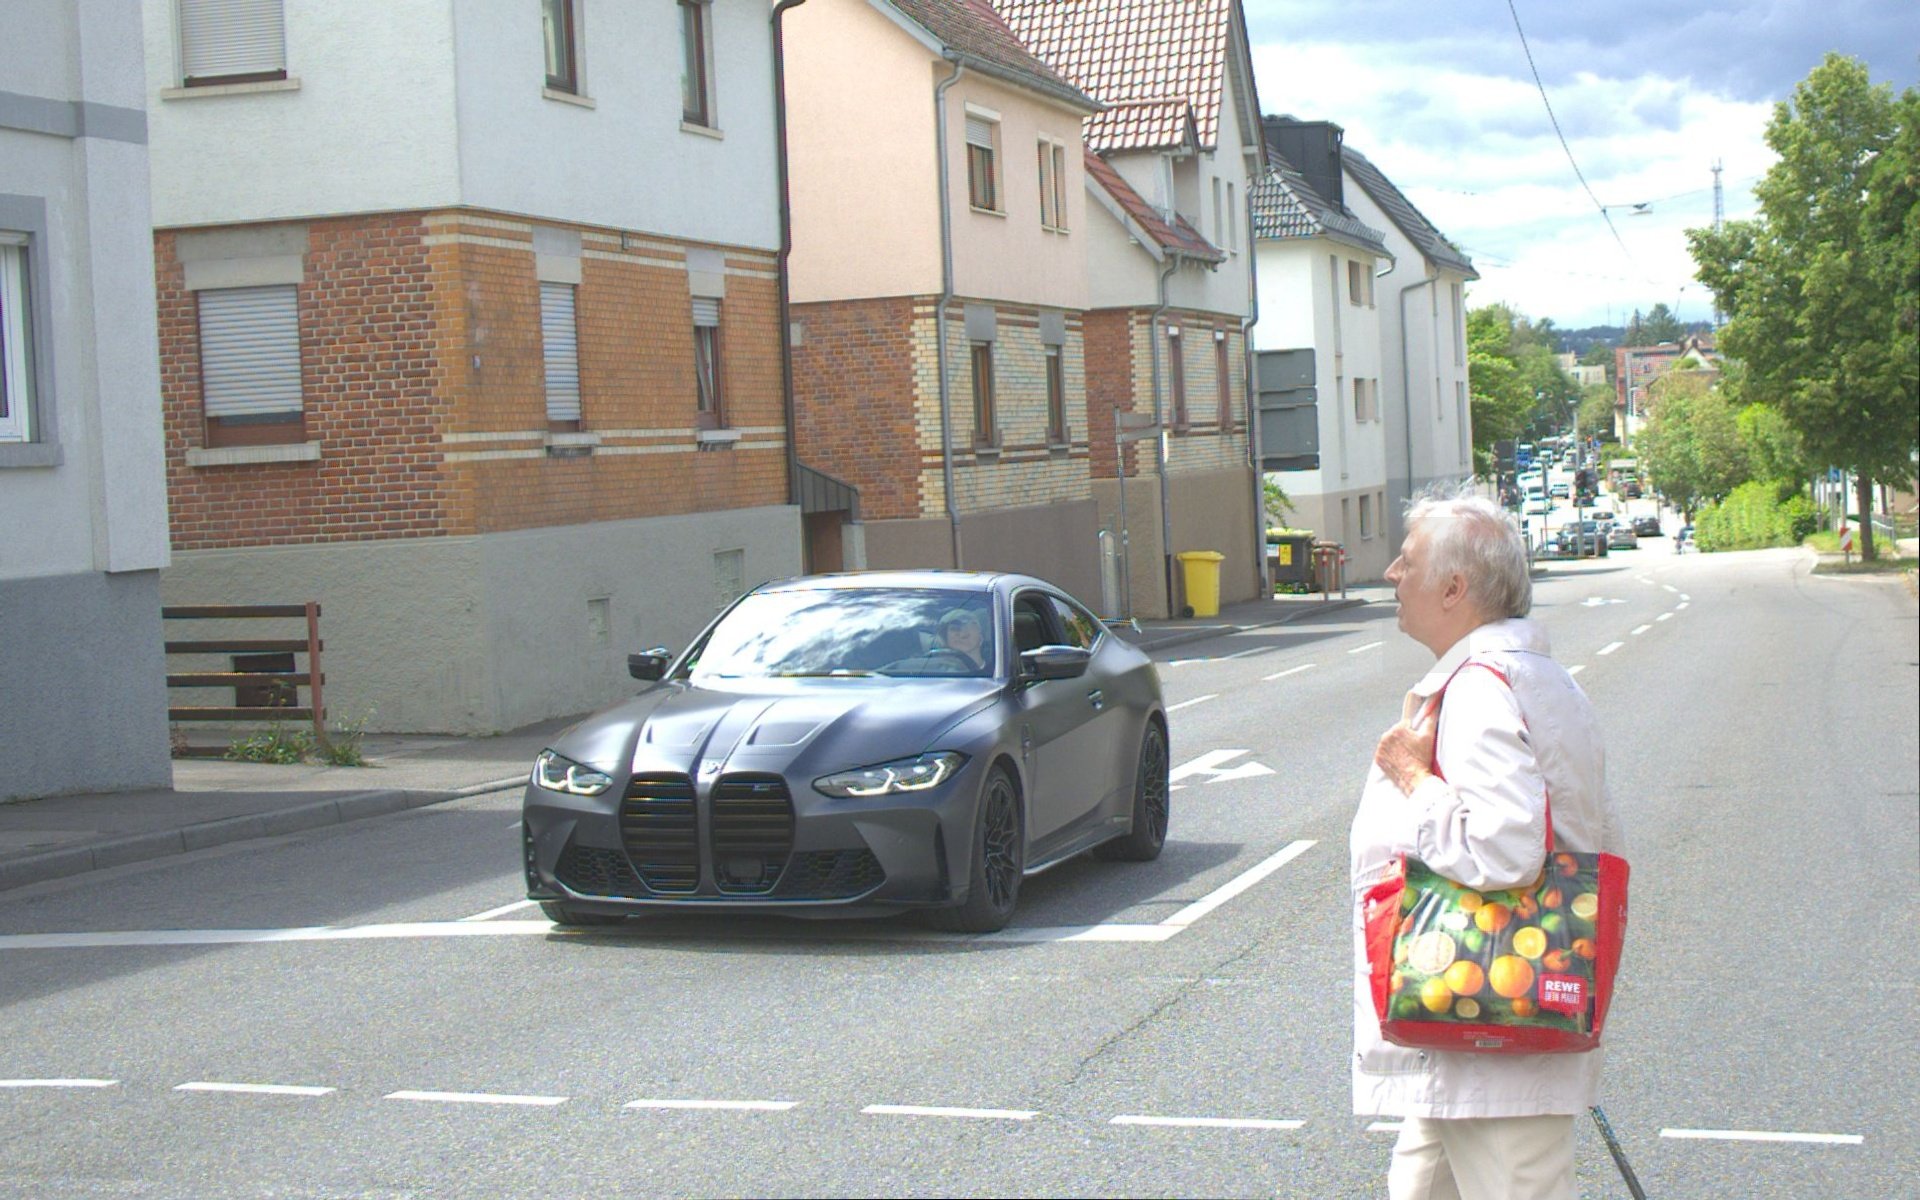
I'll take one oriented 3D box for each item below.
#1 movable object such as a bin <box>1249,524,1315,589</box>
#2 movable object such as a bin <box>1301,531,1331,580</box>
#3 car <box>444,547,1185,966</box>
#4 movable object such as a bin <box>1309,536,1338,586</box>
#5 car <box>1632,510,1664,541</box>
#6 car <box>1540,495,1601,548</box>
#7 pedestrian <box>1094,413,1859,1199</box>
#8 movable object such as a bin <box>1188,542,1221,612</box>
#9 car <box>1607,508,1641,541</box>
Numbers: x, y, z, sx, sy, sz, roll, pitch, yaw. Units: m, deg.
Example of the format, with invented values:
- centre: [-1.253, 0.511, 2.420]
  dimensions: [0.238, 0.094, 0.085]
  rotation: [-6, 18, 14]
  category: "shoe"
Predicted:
- centre: [6.778, -0.912, 72.319]
  dimensions: [1.281, 1.305, 0.816]
  rotation: [-2, 1, 9]
  category: "movable object such as a bin"
- centre: [7.615, -0.947, 73.541]
  dimensions: [0.532, 1.026, 0.455]
  rotation: [-2, 1, 13]
  category: "movable object such as a bin"
- centre: [-0.417, 0.542, 14.992]
  dimensions: [1.995, 1.452, 4.615]
  rotation: [0, 2, 14]
  category: "car"
- centre: [7.733, -0.829, 73.173]
  dimensions: [0.532, 1.026, 0.455]
  rotation: [-2, 1, 13]
  category: "movable object such as a bin"
- centre: [47.409, -5.141, 236.886]
  dimensions: [1.994, 2.007, 3.998]
  rotation: [-3, 0, 10]
  category: "car"
- centre: [24.251, -3.118, 136.627]
  dimensions: [1.994, 2.007, 3.999]
  rotation: [-2, 1, 5]
  category: "car"
- centre: [0.805, 0.566, 5.148]
  dimensions: [0.872, 1.632, 0.835]
  rotation: [-2, 1, 26]
  category: "pedestrian"
- centre: [4.016, -0.377, 56.457]
  dimensions: [0.431, 1.124, 0.299]
  rotation: [-3, 1, 13]
  category: "movable object such as a bin"
- centre: [42.825, -4.848, 221.731]
  dimensions: [1.994, 2.007, 3.998]
  rotation: [-3, 0, 10]
  category: "car"
